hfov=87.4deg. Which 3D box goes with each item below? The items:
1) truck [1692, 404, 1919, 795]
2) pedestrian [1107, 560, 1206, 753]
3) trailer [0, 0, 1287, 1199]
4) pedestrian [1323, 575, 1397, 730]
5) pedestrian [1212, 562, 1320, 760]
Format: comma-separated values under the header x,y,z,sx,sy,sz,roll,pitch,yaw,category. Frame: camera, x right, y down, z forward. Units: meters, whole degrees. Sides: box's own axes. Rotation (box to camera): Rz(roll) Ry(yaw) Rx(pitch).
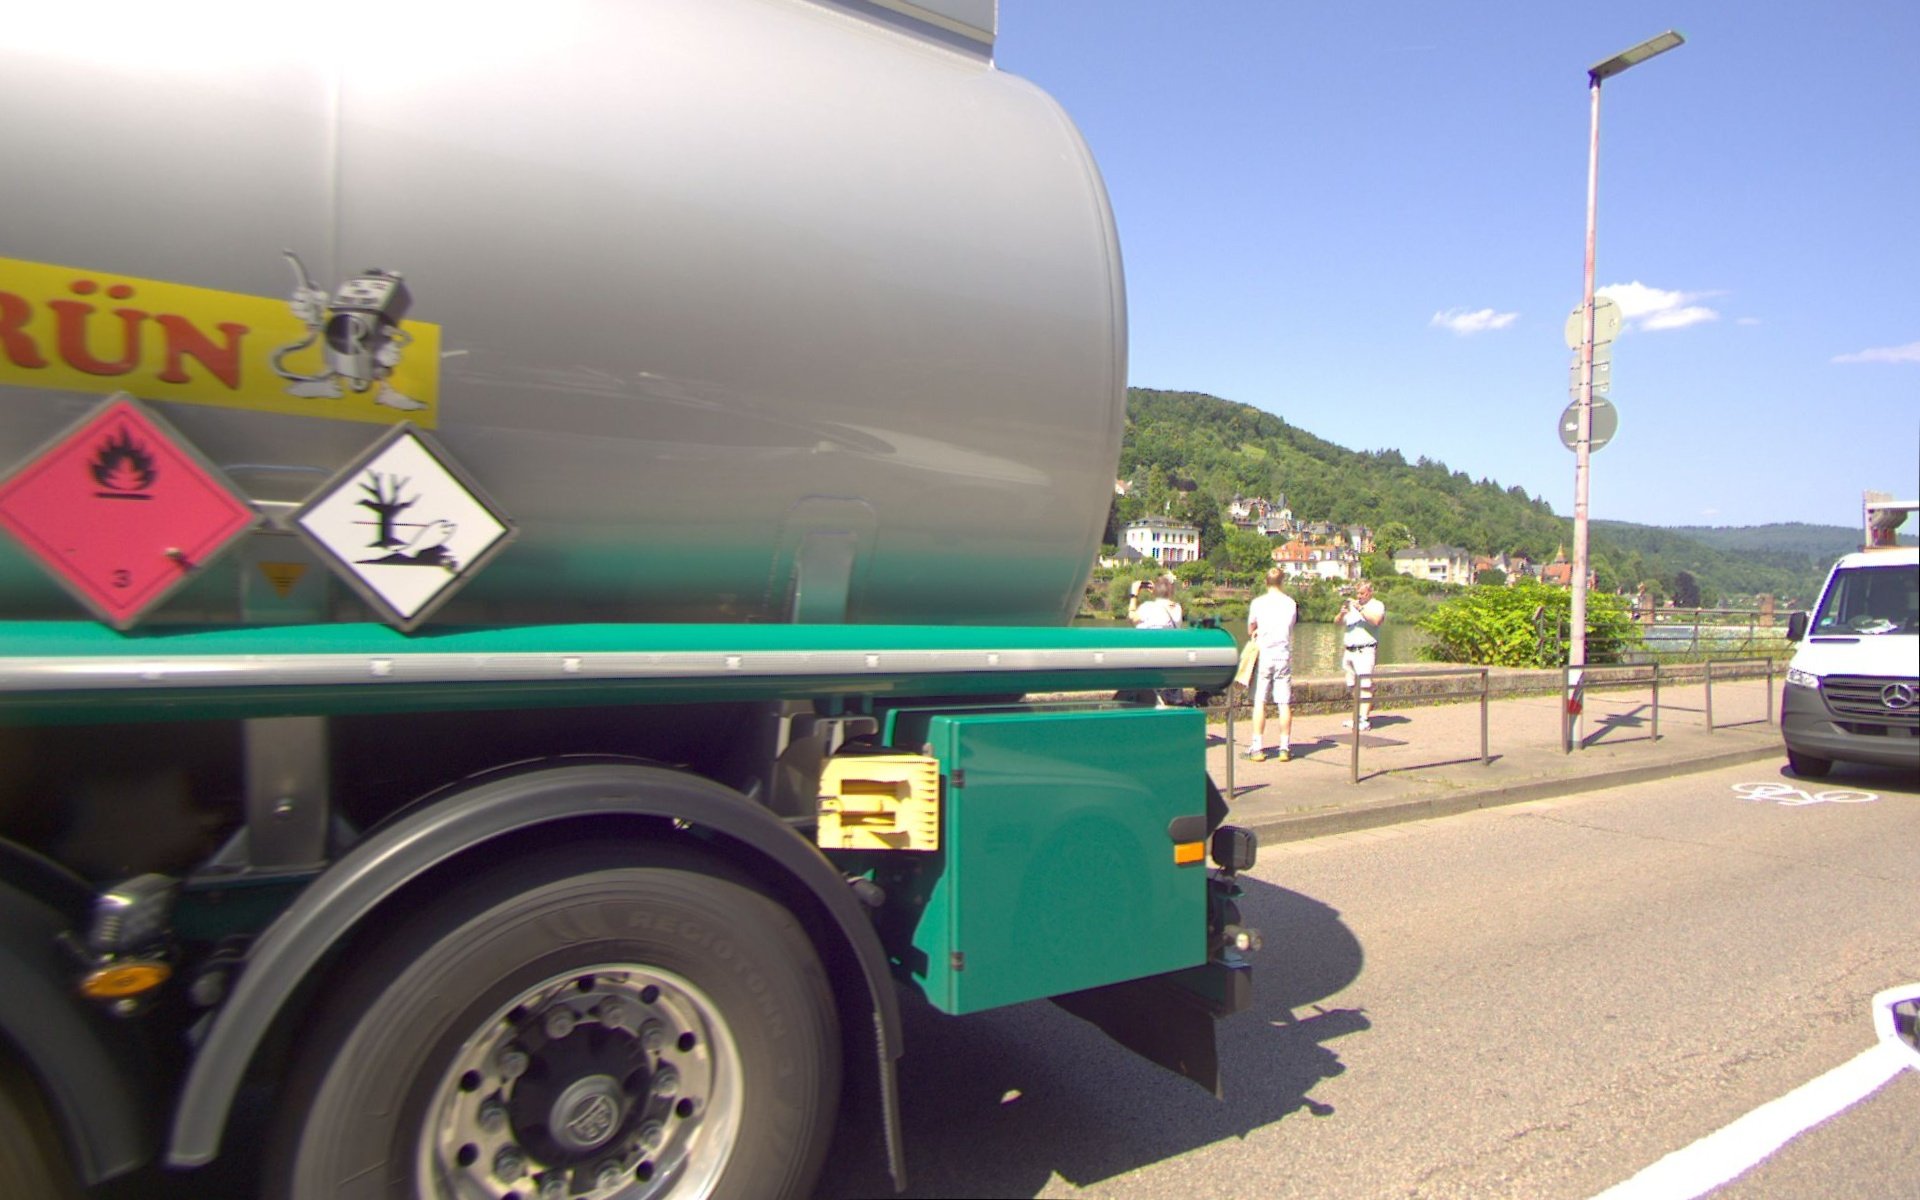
x,y,z,sx,sy,sz,roll,pitch,yaw,category
10.968,0.041,10.990,7.533,3.304,2.362,0,-2,-35,truck
1.899,0.537,9.767,0.806,1.817,0.544,1,1,-3,pedestrian
-4.638,-0.401,0.988,11.394,3.692,2.512,1,-1,-30,trailer
4.687,0.591,11.775,0.742,1.745,0.544,1,1,23,pedestrian
2.886,0.561,9.515,0.806,1.817,0.521,1,1,-3,pedestrian
